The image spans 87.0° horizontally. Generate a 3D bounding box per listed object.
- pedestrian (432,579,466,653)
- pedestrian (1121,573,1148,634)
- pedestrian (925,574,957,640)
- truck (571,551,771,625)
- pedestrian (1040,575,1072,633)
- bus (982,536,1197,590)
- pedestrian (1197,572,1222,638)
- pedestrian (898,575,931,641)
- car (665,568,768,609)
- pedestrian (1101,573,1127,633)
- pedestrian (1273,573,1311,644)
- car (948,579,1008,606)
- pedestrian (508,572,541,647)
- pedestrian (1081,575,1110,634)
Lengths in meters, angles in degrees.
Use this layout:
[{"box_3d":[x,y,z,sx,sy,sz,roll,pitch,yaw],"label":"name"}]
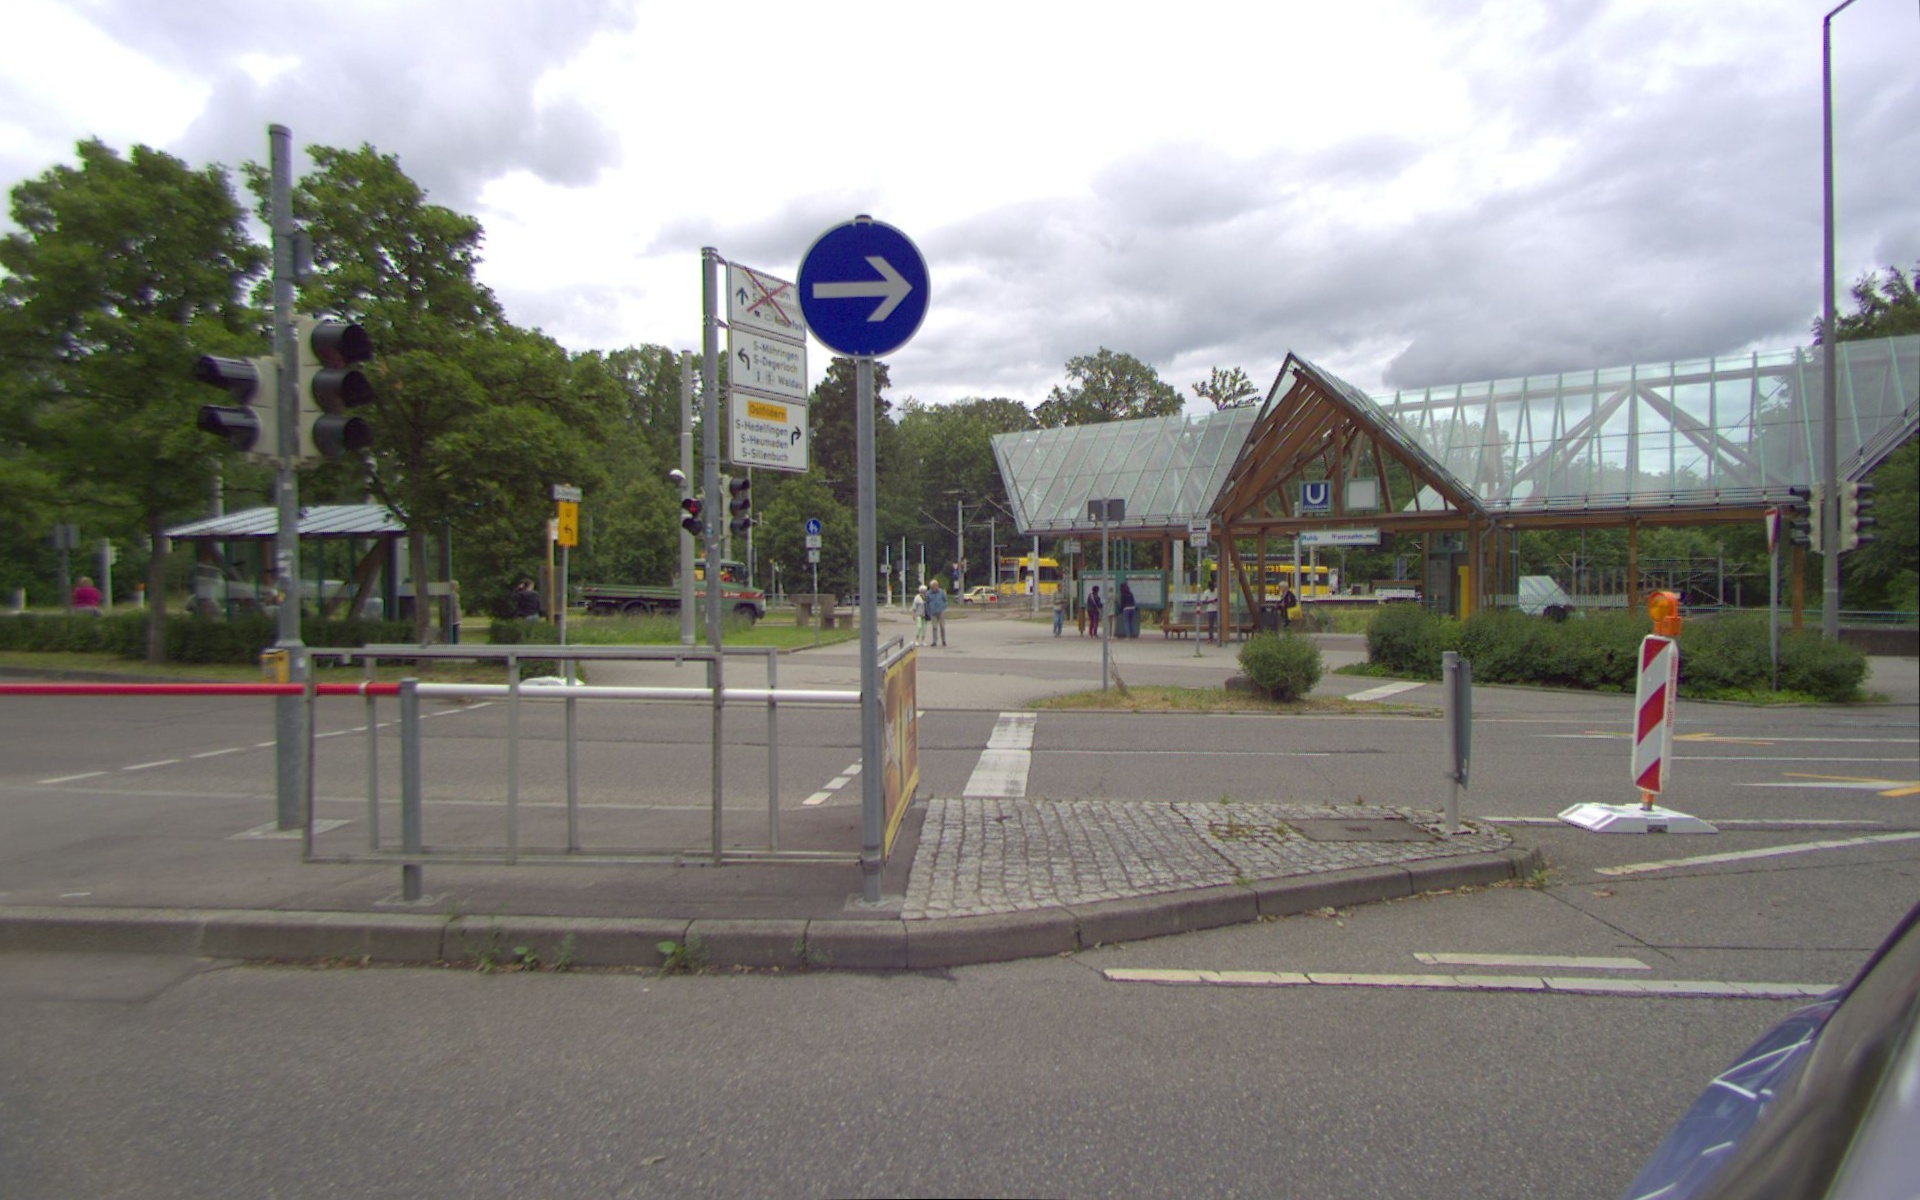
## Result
[{"box_3d":[-10.665,0.332,21.126,0.470,1.536,0.523,-1,-1,-3],"label":"pedestrian"},{"box_3d":[5.217,0.100,30.303,0.587,1.780,0.669,-1,-1,-9],"label":"pedestrian"},{"box_3d":[-0.515,0.195,27.459,0.725,1.780,0.666,-1,-1,13],"label":"pedestrian"},{"box_3d":[-9.938,-0.404,34.854,6.407,2.382,2.411,-1,-1,-22],"label":"truck"},{"box_3d":[3.008,0.119,31.724,0.730,1.780,0.726,-1,-1,40],"label":"pedestrian"},{"box_3d":[10.031,-2.574,75.286,18.230,3.528,3.977,0,-1,-37],"label":"bus"},{"box_3d":[6.843,0.150,27.753,0.646,1.780,0.665,-1,-1,15],"label":"pedestrian"},{"box_3d":[-1.242,0.214,27.527,0.726,1.780,0.665,-1,-1,14],"label":"pedestrian"},{"box_3d":[-15.414,-0.715,64.153,6.028,2.526,2.001,0,-1,-32],"label":"car"},{"box_3d":[4.609,0.086,30.320,0.587,1.780,0.669,-1,-1,-9],"label":"pedestrian"},{"box_3d":[8.443,0.215,25.764,0.644,1.780,0.667,0,-1,-40],"label":"pedestrian"},{"box_3d":[1.380,-0.593,78.257,4.243,2.039,2.001,0,-1,-32],"label":"car"},{"box_3d":[-9.053,0.201,21.061,0.470,1.536,0.523,-1,-1,-3],"label":"pedestrian"},{"box_3d":[4.144,0.145,31.007,0.654,1.780,0.563,0,-1,-23],"label":"pedestrian"}]
